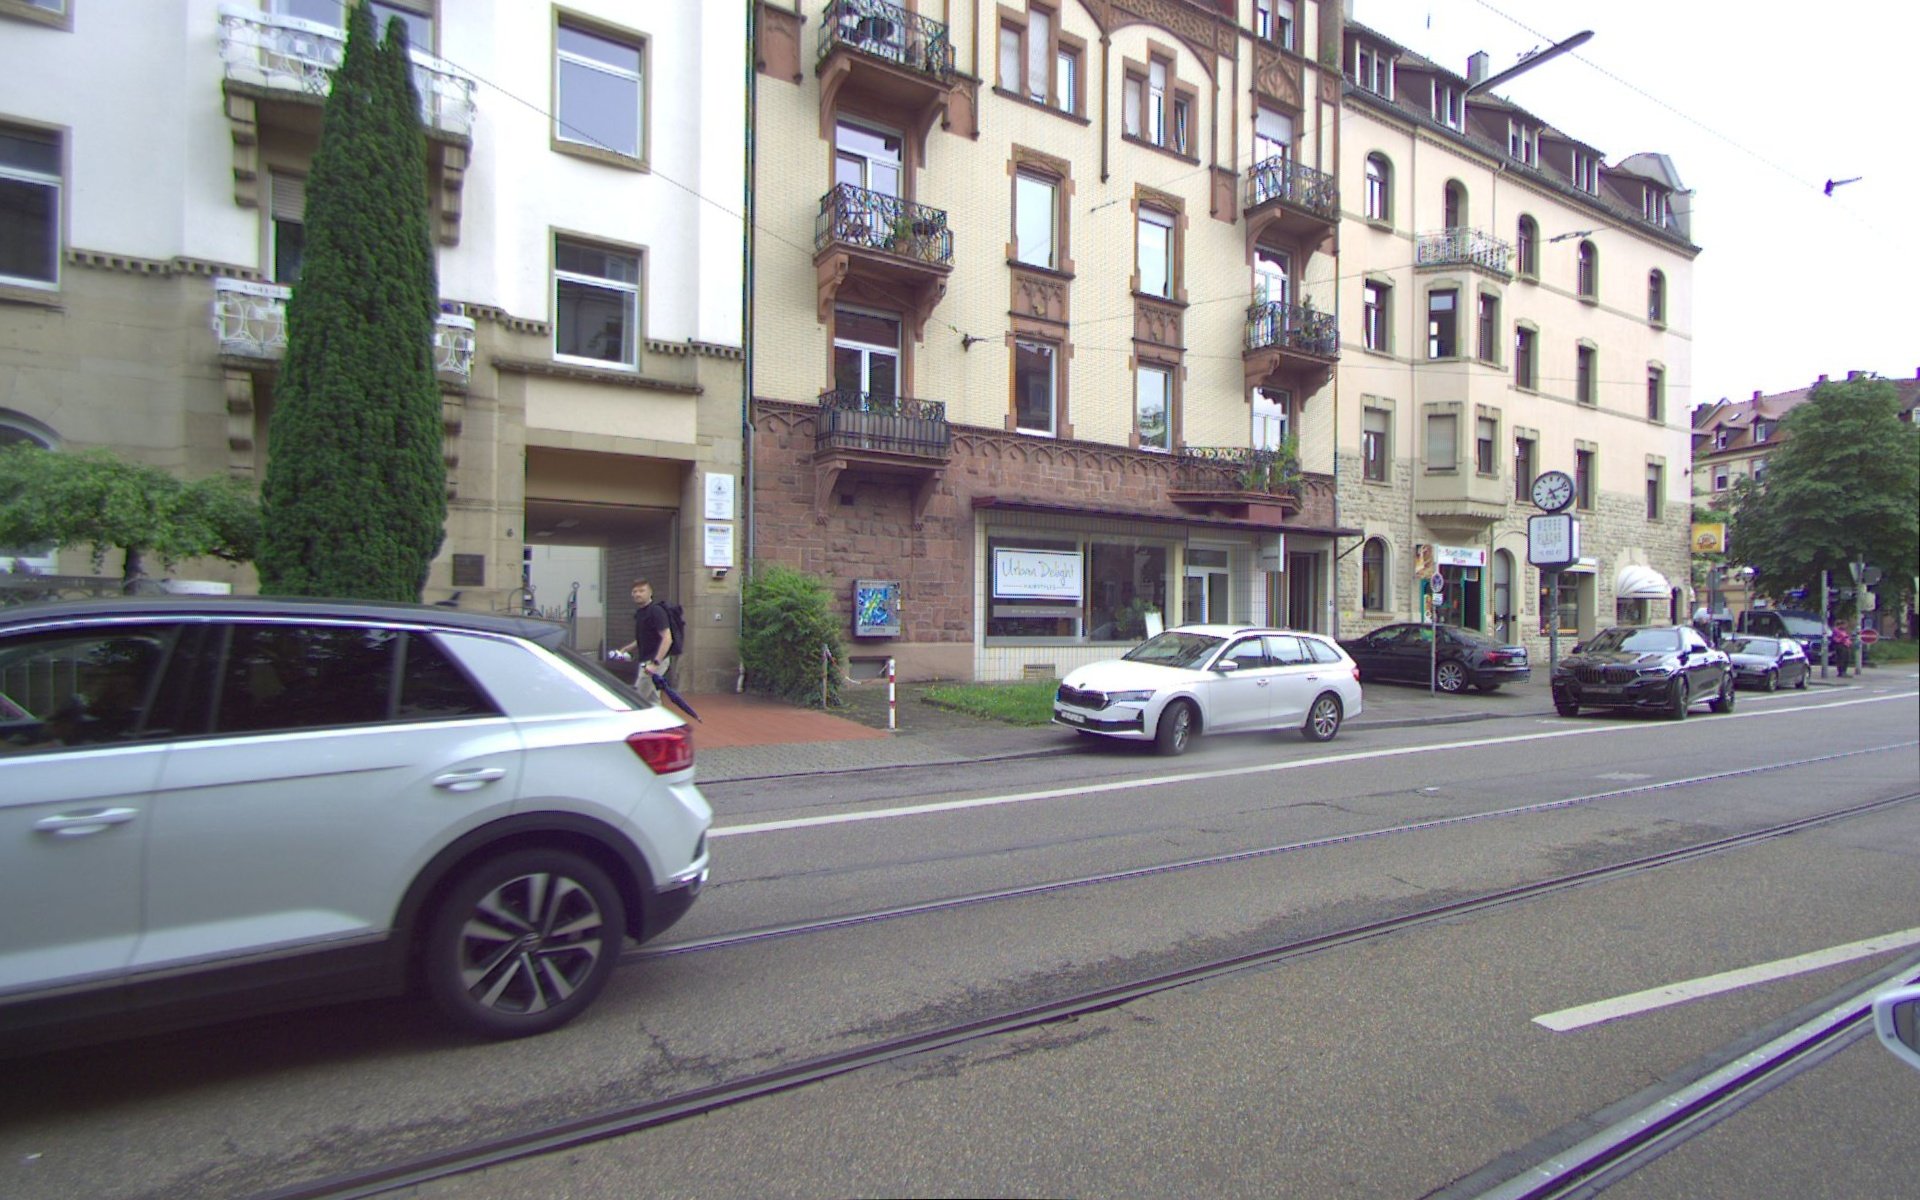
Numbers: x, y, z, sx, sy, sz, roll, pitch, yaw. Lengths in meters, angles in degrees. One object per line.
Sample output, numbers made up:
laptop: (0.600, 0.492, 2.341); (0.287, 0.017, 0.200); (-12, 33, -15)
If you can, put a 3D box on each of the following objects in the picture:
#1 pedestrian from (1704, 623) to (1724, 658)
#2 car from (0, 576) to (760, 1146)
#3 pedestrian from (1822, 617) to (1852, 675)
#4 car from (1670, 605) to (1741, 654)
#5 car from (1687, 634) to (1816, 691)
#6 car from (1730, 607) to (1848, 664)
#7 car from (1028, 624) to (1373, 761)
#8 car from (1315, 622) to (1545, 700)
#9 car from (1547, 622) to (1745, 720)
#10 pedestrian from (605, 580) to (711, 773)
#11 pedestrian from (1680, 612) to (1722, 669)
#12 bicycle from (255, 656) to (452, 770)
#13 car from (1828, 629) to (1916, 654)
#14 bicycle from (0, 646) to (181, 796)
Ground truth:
pedestrian: (38.355, 2.051, 51.091); (0.686, 1.738, 0.552); (0, -1, 18)
car: (-2.847, 0.725, 3.514); (3.890, 1.516, 1.688); (1, -2, -34)
pedestrian: (28.941, 1.514, 33.142); (0.603, 1.867, 0.619); (1, -1, -34)
car: (40.935, 1.623, 55.294); (2.145, 2.560, 5.375); (0, -1, 26)
car: (21.931, 1.672, 27.782); (4.087, 1.380, 1.638); (1, 1, -35)
car: (37.599, 1.582, 45.759); (2.142, 2.449, 5.383); (0, -1, 16)
car: (3.222, 1.077, 13.092); (4.560, 1.504, 1.737); (1, -2, -33)
car: (10.574, 1.303, 22.895); (1.862, 1.389, 4.394); (1, 1, -36)
car: (13.072, 1.299, 19.026); (4.849, 1.632, 1.867); (2, -4, -41)
pedestrian: (-3.080, 0.753, 10.245); (0.873, 1.868, 0.664); (1, -2, -33)
pedestrian: (26.950, 1.474, 36.534); (0.826, 2.040, 0.969); (1, -2, -32)
bicycle: (-5.473, 0.998, 9.135); (1.499, 0.950, 0.330); (1, -1, -33)
car: (61.817, 2.778, 68.163); (3.921, 1.617, 2.000); (0, -1, 19)
bicycle: (-7.211, 0.939, 7.946); (1.614, 1.116, 0.381); (2, -2, -44)
